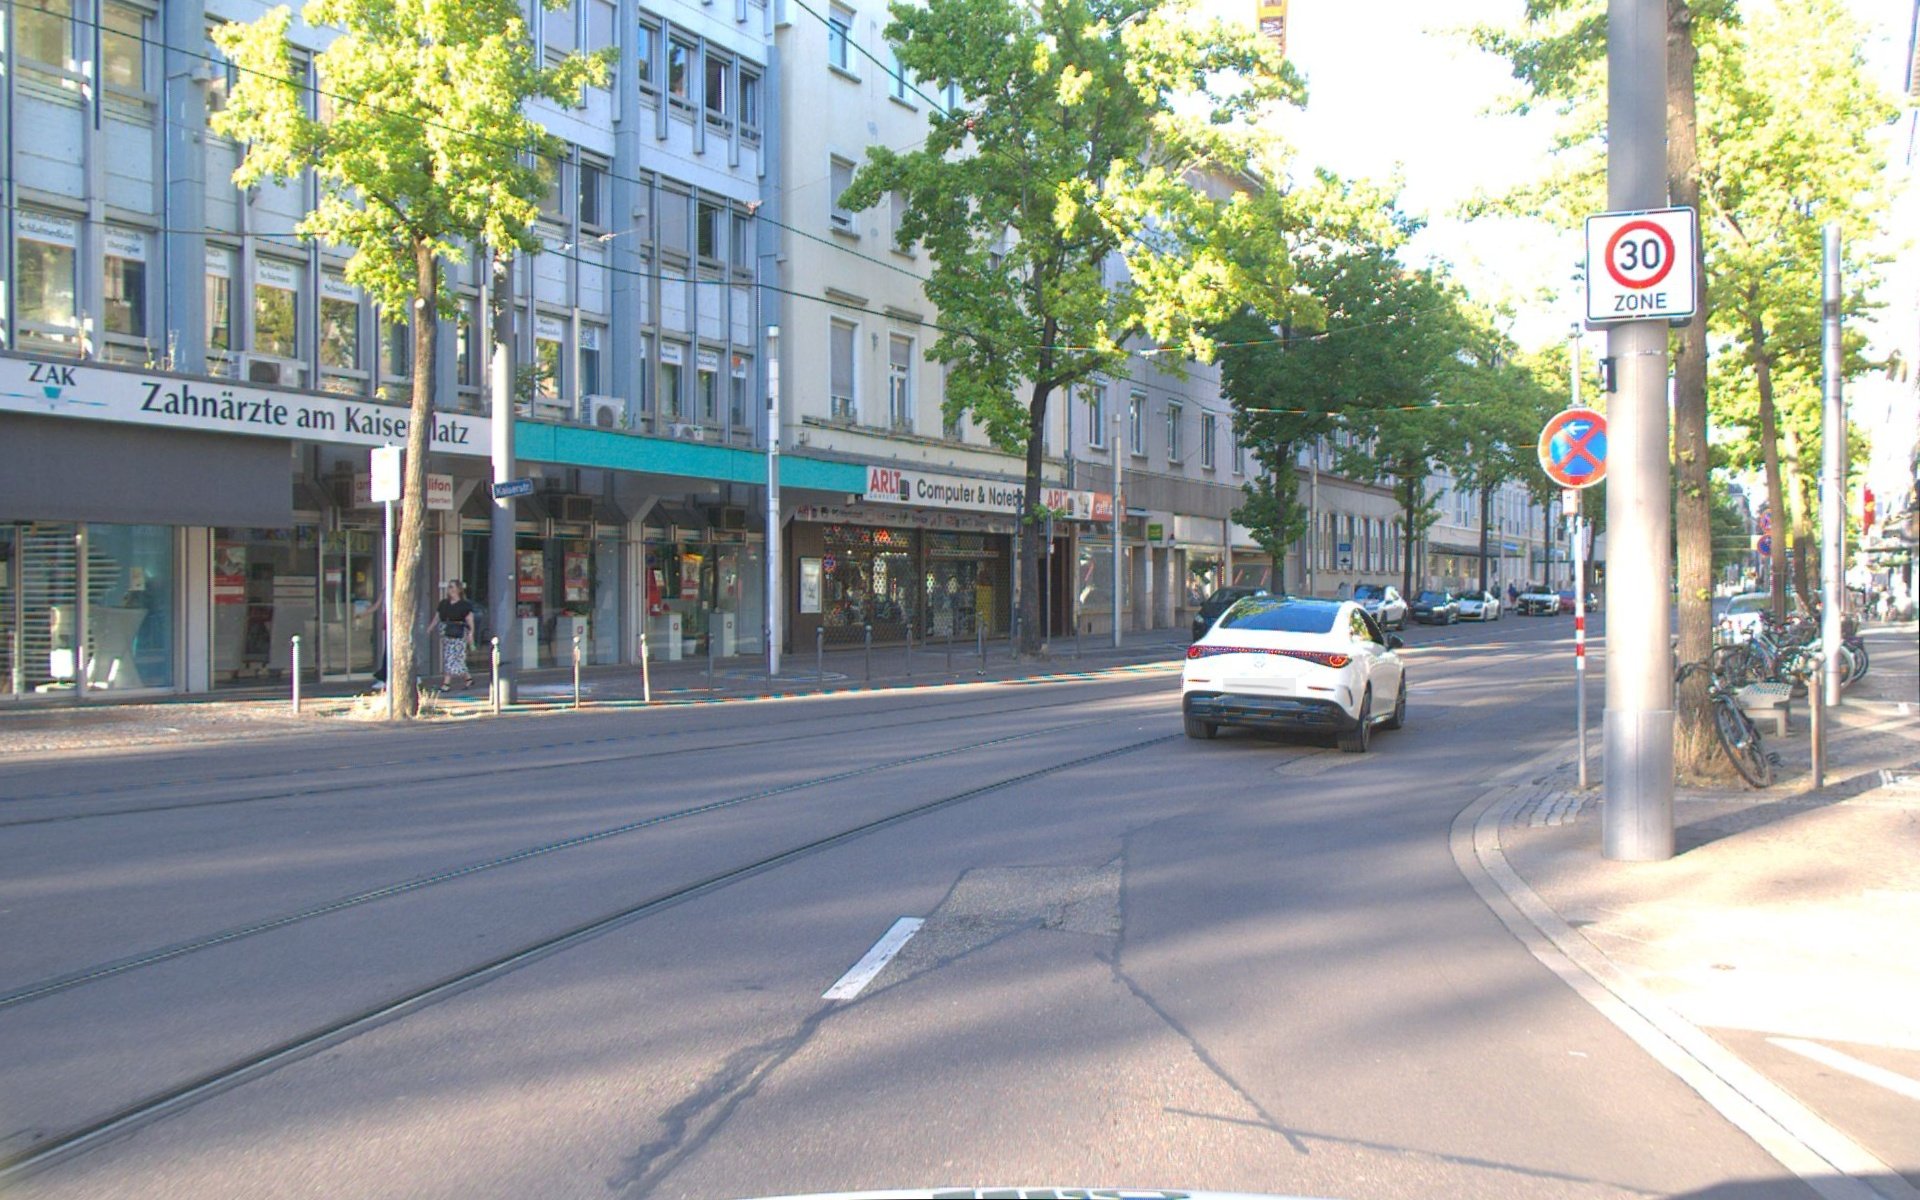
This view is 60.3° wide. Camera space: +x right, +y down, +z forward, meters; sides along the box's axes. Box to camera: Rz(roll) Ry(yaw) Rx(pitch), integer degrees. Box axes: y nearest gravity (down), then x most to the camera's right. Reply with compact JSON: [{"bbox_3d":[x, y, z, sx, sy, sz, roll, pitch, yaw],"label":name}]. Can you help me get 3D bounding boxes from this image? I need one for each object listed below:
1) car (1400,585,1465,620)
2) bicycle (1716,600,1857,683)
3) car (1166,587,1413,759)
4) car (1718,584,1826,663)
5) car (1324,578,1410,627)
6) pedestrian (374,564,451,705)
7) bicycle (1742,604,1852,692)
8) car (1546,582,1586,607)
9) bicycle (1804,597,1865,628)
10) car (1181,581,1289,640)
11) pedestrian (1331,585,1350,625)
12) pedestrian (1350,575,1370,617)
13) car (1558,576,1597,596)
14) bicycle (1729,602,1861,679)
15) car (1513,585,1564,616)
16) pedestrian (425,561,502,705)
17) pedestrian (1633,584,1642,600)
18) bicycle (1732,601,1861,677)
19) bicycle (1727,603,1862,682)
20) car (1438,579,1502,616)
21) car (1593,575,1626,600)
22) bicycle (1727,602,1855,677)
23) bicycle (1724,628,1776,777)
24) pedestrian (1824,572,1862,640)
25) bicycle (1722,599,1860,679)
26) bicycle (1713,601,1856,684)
[{"bbox_3d":[20.507,0.085,71.619,1.923,1.437,4.842,0,0,26],"label":"car"},{"bbox_3d":[12.216,0.592,24.452,1.832,1.175,0.561,0,0,31],"label":"bicycle"},{"bbox_3d":[3.580,0.656,17.401,1.830,1.494,4.042,3,1,21],"label":"car"},{"bbox_3d":[16.792,0.464,34.121,1.742,1.465,4.415,-3,-2,29],"label":"car"},{"bbox_3d":[15.216,0.082,61.663,1.925,1.668,4.804,3,2,29],"label":"car"},{"bbox_3d":[-8.127,0.496,24.552,0.782,2.049,0.733,0,0,30],"label":"pedestrian"},{"bbox_3d":[11.637,0.647,23.048,0.452,1.175,1.677,0,0,-11],"label":"bicycle"},{"bbox_3d":[37.899,-0.344,103.391,1.657,1.525,4.226,0,0,29],"label":"car"},{"bbox_3d":[31.456,0.439,59.500,1.816,1.093,0.712,-1,0,19],"label":"bicycle"},{"bbox_3d":[8.186,0.288,48.917,1.925,1.668,3.993,0,0,29],"label":"car"},{"bbox_3d":[16.393,0.227,71.238,0.661,1.709,0.646,0,0,28],"label":"pedestrian"},{"bbox_3d":[17.150,-0.175,70.923,0.673,1.751,0.655,1,1,29],"label":"pedestrian"},{"bbox_3d":[41.296,-0.963,110.519,1.955,1.314,3.994,0,1,28],"label":"car"},{"bbox_3d":[13.210,0.618,26.181,1.832,1.175,0.561,0,0,31],"label":"bicycle"},{"bbox_3d":[33.293,0.001,95.063,1.925,1.721,5.004,0,0,29],"label":"car"},{"bbox_3d":[-7.215,0.471,24.045,0.782,2.049,0.733,0,0,30],"label":"pedestrian"},{"bbox_3d":[61.144,-0.708,149.253,0.645,1.489,0.562,-1,0,-42],"label":"pedestrian"},{"bbox_3d":[13.796,0.648,27.301,1.831,1.175,0.561,-3,-2,31],"label":"bicycle"},{"bbox_3d":[12.924,0.639,25.637,1.832,1.175,0.561,0,0,31],"label":"bicycle"},{"bbox_3d":[24.222,-0.144,78.439,1.910,1.668,4.900,1,1,30],"label":"car"},{"bbox_3d":[48.174,-0.937,122.629,1.527,1.827,3.154,0,0,37],"label":"car"},{"bbox_3d":[13.431,0.626,26.748,1.832,1.175,0.561,0,0,31],"label":"bicycle"},{"bbox_3d":[6.319,0.783,13.249,0.347,1.095,1.698,0,0,25],"label":"bicycle"},{"bbox_3d":[22.116,0.140,41.433,0.788,1.672,0.754,-1,0,29],"label":"pedestrian"},{"bbox_3d":[12.585,0.576,25.061,1.832,1.175,0.561,0,0,31],"label":"bicycle"},{"bbox_3d":[11.944,0.601,23.982,1.832,1.175,0.347,0,0,31],"label":"bicycle"}]
